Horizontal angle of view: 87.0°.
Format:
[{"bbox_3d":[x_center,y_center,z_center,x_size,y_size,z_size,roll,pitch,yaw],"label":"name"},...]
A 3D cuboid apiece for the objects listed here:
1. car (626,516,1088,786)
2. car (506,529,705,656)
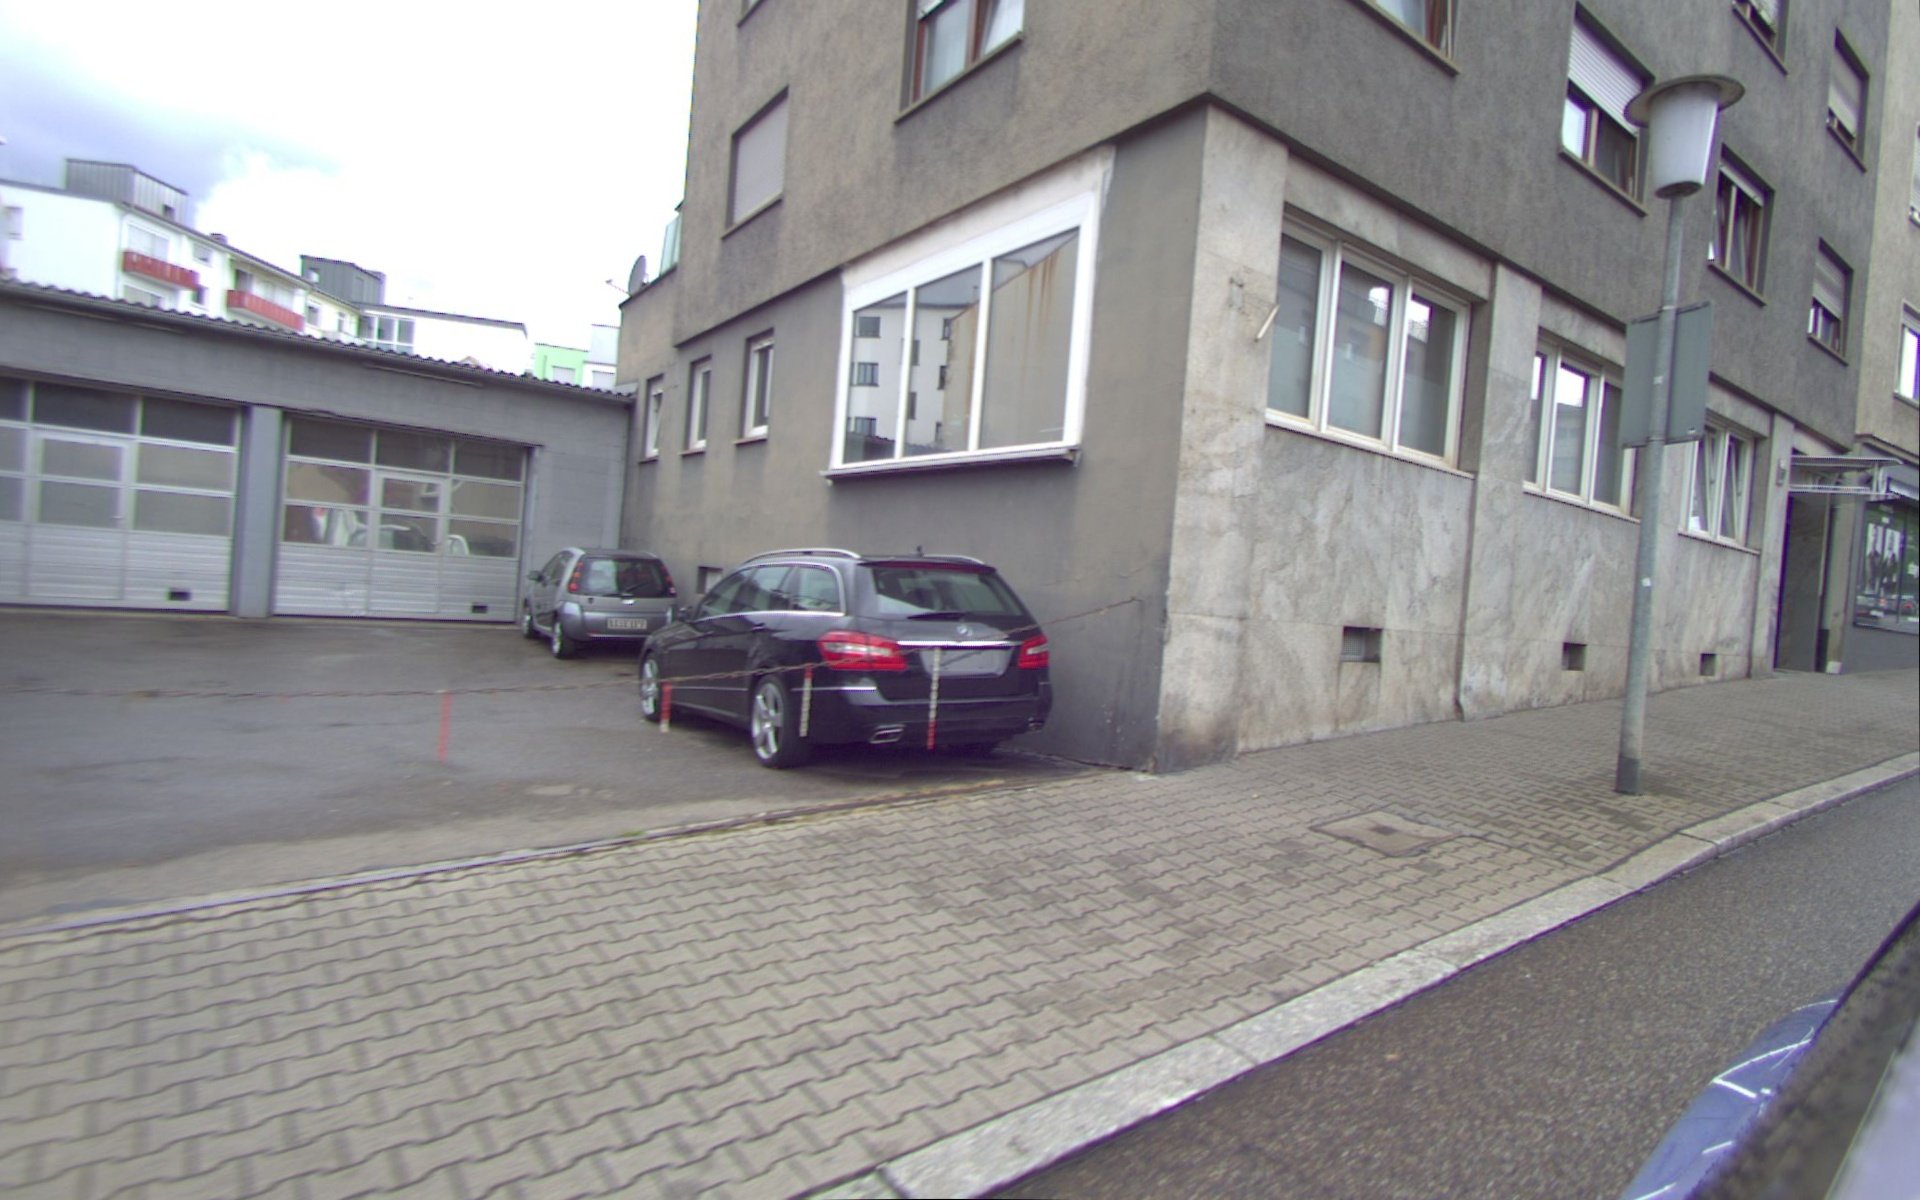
[{"bbox_3d":[-1.144,0.274,8.157,1.850,1.531,4.507,0,0,-33],"label":"car"},{"bbox_3d":[-5.467,-0.210,15.225,1.850,1.530,4.260,0,4,-33],"label":"car"}]
